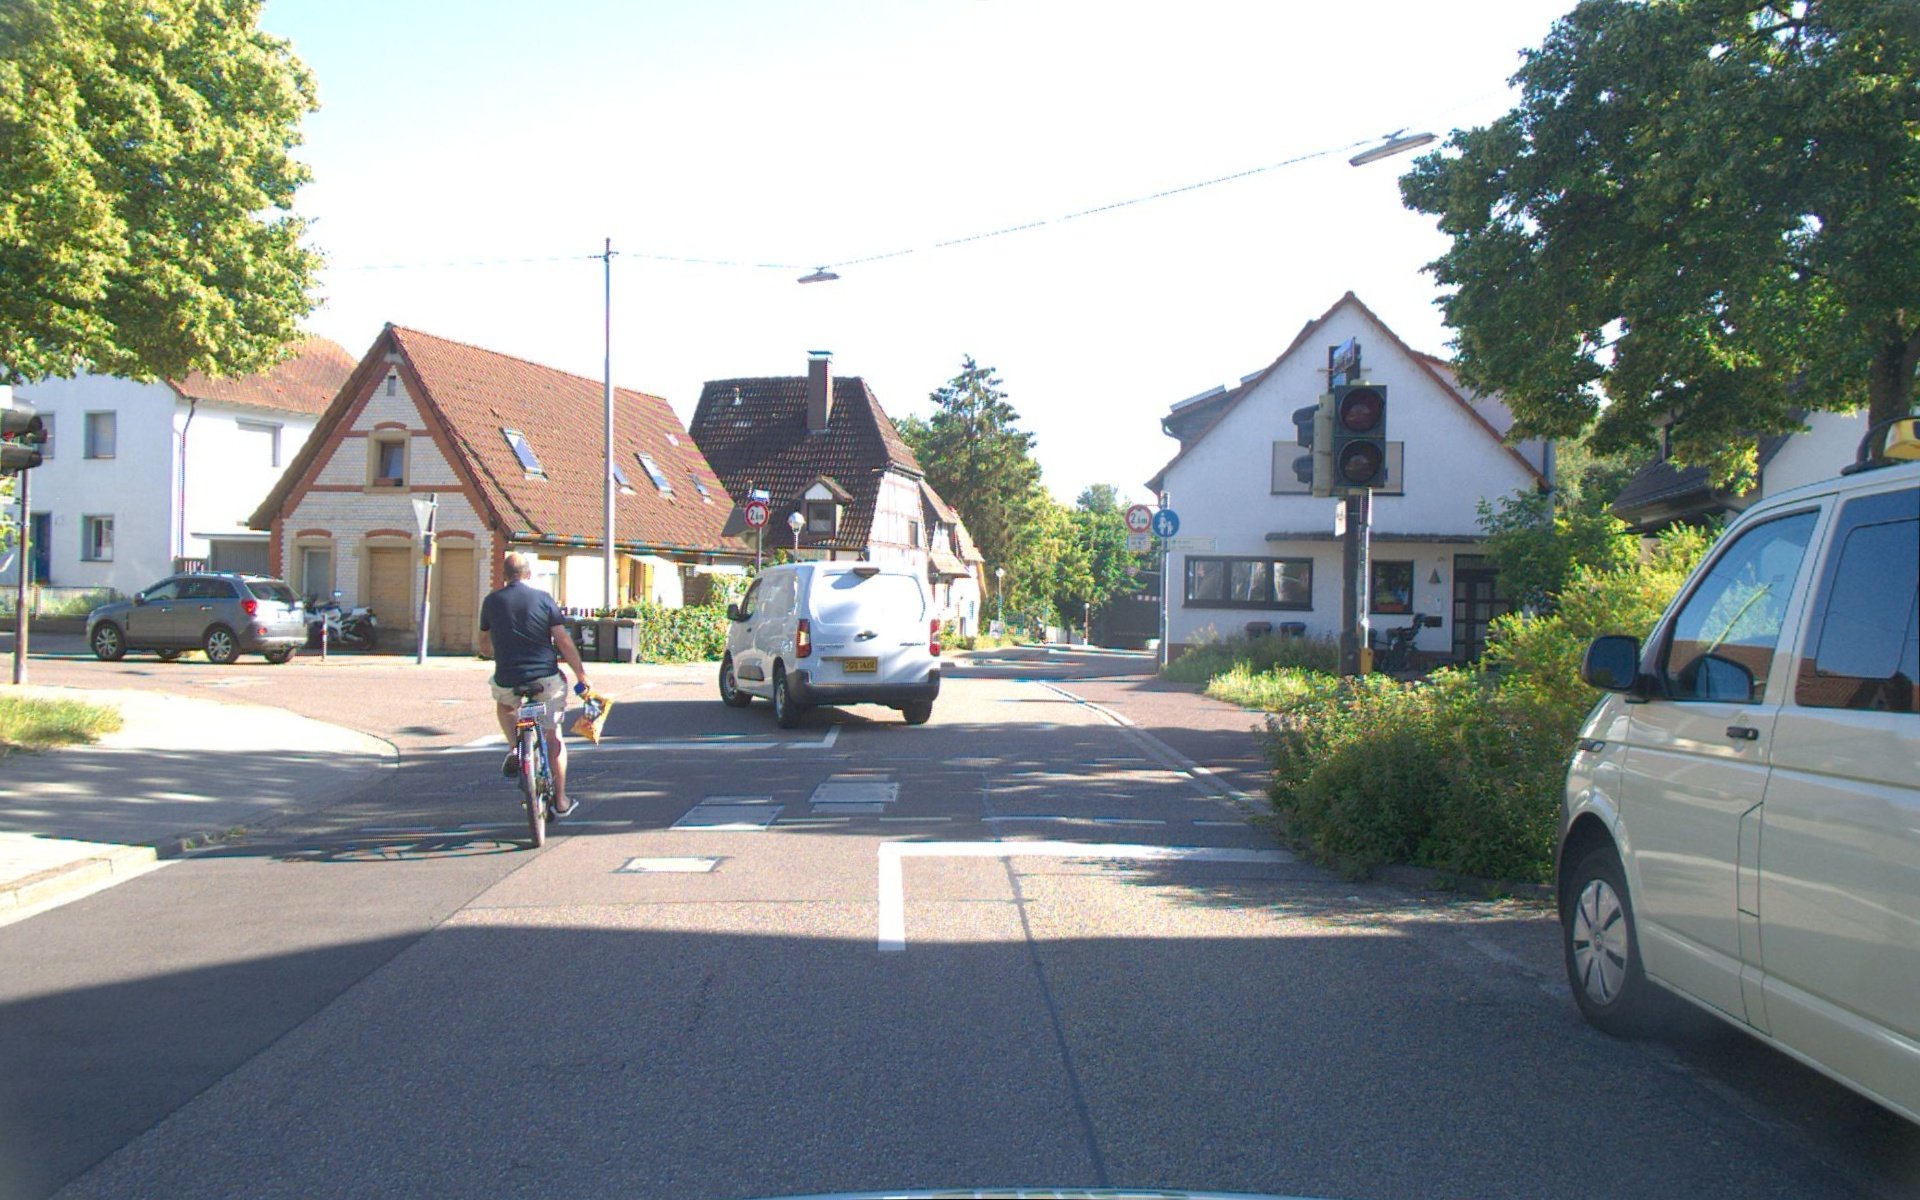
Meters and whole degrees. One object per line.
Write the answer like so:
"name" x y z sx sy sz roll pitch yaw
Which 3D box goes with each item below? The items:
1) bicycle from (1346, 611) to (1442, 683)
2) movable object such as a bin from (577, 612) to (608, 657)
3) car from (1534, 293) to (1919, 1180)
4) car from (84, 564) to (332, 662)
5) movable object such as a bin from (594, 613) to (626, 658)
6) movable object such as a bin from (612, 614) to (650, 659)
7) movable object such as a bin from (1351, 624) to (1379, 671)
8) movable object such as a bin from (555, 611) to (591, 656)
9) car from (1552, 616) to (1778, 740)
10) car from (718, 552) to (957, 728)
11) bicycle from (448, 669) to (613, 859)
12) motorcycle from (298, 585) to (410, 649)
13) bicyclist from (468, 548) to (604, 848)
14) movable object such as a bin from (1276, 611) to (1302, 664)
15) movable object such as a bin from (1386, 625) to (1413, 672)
"bicycle" 8.404 0.902 32.095 1.700 1.306 0.701 2 -1 7
"movable object such as a bin" -7.952 0.744 35.803 0.403 0.921 0.626 1 1 17
"car" 3.281 0.350 4.404 1.952 2.115 4.578 2 -1 1
"car" -14.819 0.251 32.662 4.131 1.755 1.947 2 -1 16
"movable object such as a bin" -7.539 0.758 35.673 0.402 0.941 0.626 1 0 17
"movable object such as a bin" -7.058 0.780 35.526 0.544 0.941 0.626 2 0 17
"movable object such as a bin" 8.971 1.046 36.672 0.518 1.000 0.670 2 0 9
"movable object such as a bin" -8.408 0.723 35.967 0.497 0.941 0.626 2 0 17
"car" 10.378 1.077 24.758 1.951 1.446 4.807 2 2 9
"car" -1.627 0.400 20.171 1.926 1.880 4.538 1 1 -17
"bicycle" -2.646 0.965 10.417 0.760 0.956 2.286 1 0 -9
"motorcycle" -13.238 0.352 36.142 2.195 1.317 0.883 1 2 18
"bicyclist" -2.667 0.588 10.491 0.750 1.820 0.851 0 0 -9
"movable object such as a bin" 7.331 0.823 36.876 0.515 1.142 0.749 1 0 9
"movable object such as a bin" 9.708 1.072 36.564 0.487 0.994 0.594 1 0 9
